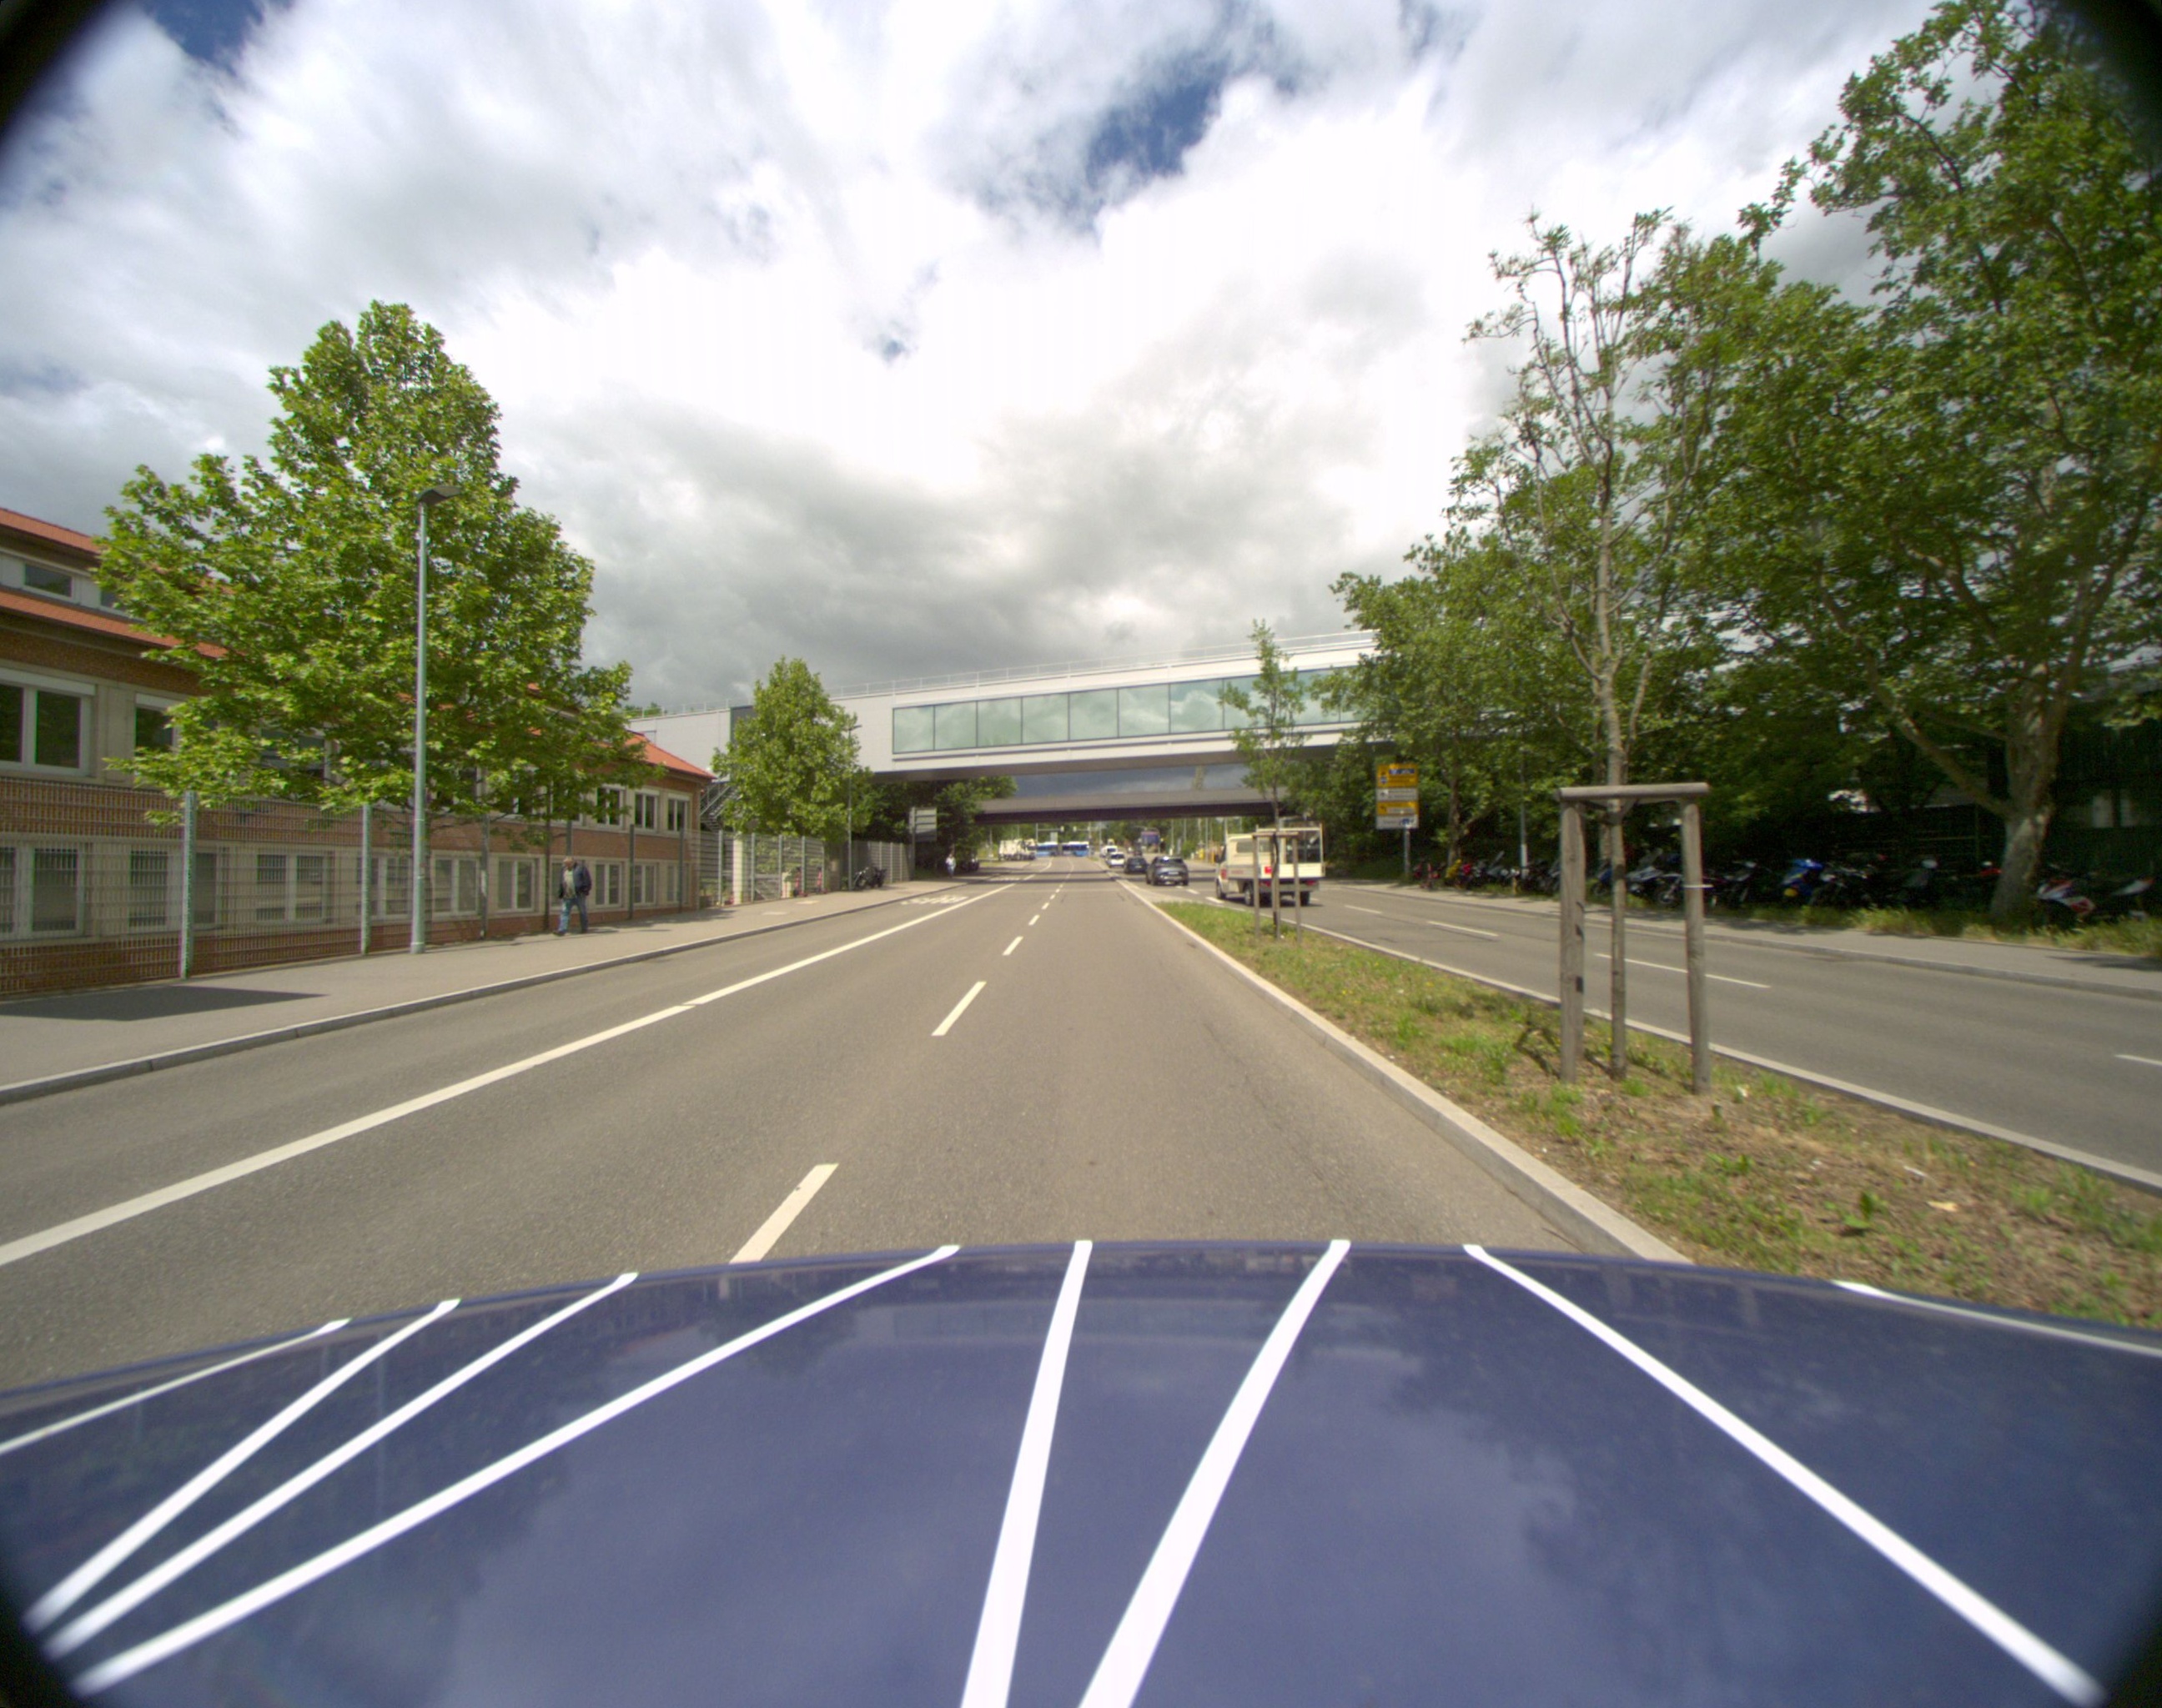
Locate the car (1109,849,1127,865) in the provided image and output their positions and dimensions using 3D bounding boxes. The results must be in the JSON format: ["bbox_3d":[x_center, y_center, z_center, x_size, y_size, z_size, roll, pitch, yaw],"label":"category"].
[{"bbox_3d":[4.292,0.371,88.072,1.813,1.770,4.977,-1,0,0],"label":"car"}]

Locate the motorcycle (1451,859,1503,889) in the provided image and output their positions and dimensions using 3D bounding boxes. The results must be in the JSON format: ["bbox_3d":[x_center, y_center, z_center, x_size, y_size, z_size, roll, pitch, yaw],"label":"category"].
[{"bbox_3d":[15.822,0.788,30.381,1.595,1.116,0.776,-3,-1,2],"label":"motorcycle"}]

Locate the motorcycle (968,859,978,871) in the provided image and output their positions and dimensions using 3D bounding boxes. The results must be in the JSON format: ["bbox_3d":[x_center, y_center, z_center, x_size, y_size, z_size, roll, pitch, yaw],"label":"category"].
[{"bbox_3d":[-10.576,1.023,74.237,0.679,1.137,2.160,0,0,0],"label":"motorcycle"}]

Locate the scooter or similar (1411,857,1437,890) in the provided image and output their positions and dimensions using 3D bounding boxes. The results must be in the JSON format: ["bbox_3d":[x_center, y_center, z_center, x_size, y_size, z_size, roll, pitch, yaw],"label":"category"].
[{"bbox_3d":[13.692,0.763,30.347,0.355,1.229,1.479,-2,1,1],"label":"scooter or similar"}]

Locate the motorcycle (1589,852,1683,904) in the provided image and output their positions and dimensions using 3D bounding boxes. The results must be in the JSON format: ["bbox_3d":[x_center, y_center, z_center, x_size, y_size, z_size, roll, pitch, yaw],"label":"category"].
[{"bbox_3d":[15.565,0.682,21.370,1.934,1.336,0.866,-3,-1,21],"label":"motorcycle"}]

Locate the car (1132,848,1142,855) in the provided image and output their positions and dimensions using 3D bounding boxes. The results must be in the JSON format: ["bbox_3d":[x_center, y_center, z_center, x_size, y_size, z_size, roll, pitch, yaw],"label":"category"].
[{"bbox_3d":[11.938,-0.495,162.430,1.998,1.346,4.000,0,0,2],"label":"car"}]

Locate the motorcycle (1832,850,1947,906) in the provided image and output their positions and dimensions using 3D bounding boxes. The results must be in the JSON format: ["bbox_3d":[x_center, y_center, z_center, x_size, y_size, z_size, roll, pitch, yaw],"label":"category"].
[{"bbox_3d":[18.909,0.548,17.840,0.654,1.202,1.984,-3,-1,5],"label":"motorcycle"}]

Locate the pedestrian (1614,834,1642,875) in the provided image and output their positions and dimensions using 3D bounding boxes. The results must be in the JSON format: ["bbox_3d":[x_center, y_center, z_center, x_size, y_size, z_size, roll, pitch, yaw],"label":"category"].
[{"bbox_3d":[23.286,0.012,32.362,0.883,1.692,0.986,-1,1,41],"label":"pedestrian"}]

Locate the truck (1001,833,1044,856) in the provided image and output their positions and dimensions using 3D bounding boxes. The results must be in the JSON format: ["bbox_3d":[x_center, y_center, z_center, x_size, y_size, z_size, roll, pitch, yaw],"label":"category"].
[{"bbox_3d":[-11.128,-1.810,143.027,2.794,3.981,10.059,-2,0,-39],"label":"truck"}]

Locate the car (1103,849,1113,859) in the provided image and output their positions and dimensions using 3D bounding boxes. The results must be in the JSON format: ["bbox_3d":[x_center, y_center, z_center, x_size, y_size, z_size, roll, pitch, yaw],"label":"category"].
[{"bbox_3d":[5.569,-0.025,155.692,1.827,1.796,4.254,-2,0,0],"label":"car"}]

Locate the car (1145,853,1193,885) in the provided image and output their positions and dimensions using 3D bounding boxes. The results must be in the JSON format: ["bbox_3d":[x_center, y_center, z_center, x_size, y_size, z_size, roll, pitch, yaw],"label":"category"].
[{"bbox_3d":[4.793,0.773,42.021,1.910,1.621,4.291,-1,0,-3],"label":"car"}]

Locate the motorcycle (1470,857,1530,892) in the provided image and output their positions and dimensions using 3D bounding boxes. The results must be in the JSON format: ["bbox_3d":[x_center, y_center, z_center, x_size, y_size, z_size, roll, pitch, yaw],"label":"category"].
[{"bbox_3d":[15.363,0.746,27.884,1.752,1.172,0.852,-3,-1,-10],"label":"motorcycle"}]

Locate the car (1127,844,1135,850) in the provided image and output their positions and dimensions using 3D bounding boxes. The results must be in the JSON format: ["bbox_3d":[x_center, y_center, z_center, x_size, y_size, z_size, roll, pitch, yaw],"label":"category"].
[{"bbox_3d":[12.705,-1.808,192.113,1.998,1.478,4.000,0,0,2],"label":"car"}]

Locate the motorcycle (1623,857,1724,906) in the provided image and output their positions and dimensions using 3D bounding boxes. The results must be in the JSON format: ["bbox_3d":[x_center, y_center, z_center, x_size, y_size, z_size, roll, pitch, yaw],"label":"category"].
[{"bbox_3d":[15.525,0.725,19.969,1.880,1.172,0.816,-3,-1,16],"label":"motorcycle"}]

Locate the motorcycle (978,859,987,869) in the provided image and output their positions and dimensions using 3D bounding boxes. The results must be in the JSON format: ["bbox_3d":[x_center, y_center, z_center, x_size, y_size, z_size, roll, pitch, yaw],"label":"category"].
[{"bbox_3d":[-10.244,1.026,79.178,0.679,1.076,2.180,0,0,0],"label":"motorcycle"}]

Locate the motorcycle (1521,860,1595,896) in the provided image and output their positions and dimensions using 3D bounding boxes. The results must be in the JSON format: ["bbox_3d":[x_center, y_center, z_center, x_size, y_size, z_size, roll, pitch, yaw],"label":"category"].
[{"bbox_3d":[15.719,0.792,25.107,1.933,1.109,0.923,-4,-1,28],"label":"motorcycle"}]

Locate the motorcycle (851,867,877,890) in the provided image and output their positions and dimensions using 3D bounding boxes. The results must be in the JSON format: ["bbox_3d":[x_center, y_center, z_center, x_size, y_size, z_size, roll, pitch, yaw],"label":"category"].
[{"bbox_3d":[-11.092,1.252,38.901,0.670,1.058,2.247,2,0,0],"label":"motorcycle"}]

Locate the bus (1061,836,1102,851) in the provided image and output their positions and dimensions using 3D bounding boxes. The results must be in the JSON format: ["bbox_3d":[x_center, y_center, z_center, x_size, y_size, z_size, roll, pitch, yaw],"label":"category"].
[{"bbox_3d":[0.105,-2.186,163.600,8.514,2.929,2.656,-2,2,33],"label":"bus"}]

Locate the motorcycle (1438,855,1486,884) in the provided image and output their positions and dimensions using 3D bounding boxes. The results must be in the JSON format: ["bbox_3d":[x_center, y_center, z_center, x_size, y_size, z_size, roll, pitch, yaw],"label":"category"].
[{"bbox_3d":[15.830,0.656,31.586,1.596,1.116,0.776,-3,-1,-8],"label":"motorcycle"}]

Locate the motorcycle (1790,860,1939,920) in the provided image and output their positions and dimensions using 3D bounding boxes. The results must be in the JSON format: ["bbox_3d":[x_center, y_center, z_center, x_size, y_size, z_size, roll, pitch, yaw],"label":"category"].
[{"bbox_3d":[15.606,0.712,15.187,1.880,1.078,0.795,-3,-1,16],"label":"motorcycle"}]

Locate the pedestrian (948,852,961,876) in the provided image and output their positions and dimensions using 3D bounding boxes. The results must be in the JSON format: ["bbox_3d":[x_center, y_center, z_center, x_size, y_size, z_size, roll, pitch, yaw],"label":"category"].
[{"bbox_3d":[-10.014,0.759,60.124,0.791,1.877,1.097,0,1,0],"label":"pedestrian"}]

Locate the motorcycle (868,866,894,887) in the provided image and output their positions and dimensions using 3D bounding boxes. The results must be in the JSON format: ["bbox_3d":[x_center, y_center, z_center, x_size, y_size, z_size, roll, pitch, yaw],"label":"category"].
[{"bbox_3d":[-10.985,1.227,41.811,0.709,1.058,2.510,2,0,0],"label":"motorcycle"}]

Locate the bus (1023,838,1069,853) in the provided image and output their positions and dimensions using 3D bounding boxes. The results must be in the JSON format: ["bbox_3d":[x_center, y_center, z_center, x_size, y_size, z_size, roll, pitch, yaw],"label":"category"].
[{"bbox_3d":[-7.664,-1.826,166.568,9.772,2.919,2.653,-2,1,11],"label":"bus"}]

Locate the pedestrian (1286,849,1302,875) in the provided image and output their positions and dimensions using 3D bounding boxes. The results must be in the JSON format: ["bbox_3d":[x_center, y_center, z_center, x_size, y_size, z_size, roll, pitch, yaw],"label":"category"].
[{"bbox_3d":[13.966,0.517,49.794,0.769,1.603,0.813,-3,1,0],"label":"pedestrian"}]

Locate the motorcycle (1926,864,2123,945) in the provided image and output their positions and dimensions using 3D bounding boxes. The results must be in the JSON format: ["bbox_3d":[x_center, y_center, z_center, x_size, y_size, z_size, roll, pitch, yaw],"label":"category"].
[{"bbox_3d":[14.831,0.785,12.004,1.881,1.166,0.746,-3,-1,10],"label":"motorcycle"}]

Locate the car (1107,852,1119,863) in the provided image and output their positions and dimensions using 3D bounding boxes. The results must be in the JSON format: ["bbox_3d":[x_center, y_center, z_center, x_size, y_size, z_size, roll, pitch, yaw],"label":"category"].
[{"bbox_3d":[4.573,0.493,109.274,1.510,1.480,3.115,-1,1,-2],"label":"car"}]

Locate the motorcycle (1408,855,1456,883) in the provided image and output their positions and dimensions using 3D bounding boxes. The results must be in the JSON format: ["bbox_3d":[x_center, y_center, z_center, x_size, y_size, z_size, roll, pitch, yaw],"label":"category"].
[{"bbox_3d":[15.667,0.667,33.949,1.745,1.164,0.777,-3,-1,9],"label":"motorcycle"}]

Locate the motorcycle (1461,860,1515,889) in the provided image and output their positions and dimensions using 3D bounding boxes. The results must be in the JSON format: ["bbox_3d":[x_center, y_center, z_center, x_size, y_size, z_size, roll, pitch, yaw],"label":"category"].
[{"bbox_3d":[15.518,0.791,29.013,1.595,1.027,0.776,-3,-1,2],"label":"motorcycle"}]

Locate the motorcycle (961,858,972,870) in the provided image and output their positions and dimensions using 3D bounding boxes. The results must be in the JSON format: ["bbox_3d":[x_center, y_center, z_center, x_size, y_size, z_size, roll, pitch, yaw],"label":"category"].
[{"bbox_3d":[-10.817,0.952,71.907,0.679,1.148,2.113,0,0,1],"label":"motorcycle"}]

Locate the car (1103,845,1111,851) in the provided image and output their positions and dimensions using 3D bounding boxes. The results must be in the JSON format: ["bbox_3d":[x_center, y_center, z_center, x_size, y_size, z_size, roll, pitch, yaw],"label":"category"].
[{"bbox_3d":[6.079,-1.466,176.770,1.998,1.346,4.000,0,0,2],"label":"car"}]

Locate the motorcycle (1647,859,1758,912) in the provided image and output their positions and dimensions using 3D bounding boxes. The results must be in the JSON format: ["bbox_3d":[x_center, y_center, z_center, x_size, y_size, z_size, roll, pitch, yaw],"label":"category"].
[{"bbox_3d":[15.179,0.769,18.608,1.881,1.172,0.815,-3,-1,10],"label":"motorcycle"}]

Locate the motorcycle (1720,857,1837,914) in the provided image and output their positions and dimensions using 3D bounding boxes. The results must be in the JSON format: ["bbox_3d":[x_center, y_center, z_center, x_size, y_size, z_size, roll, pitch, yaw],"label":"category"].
[{"bbox_3d":[15.833,0.718,17.286,1.882,1.172,0.699,-3,-1,5],"label":"motorcycle"}]

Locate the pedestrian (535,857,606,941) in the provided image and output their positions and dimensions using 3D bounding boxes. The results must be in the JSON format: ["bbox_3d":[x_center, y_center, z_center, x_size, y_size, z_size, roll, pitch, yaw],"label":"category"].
[{"bbox_3d":[-10.965,0.946,16.342,0.879,1.733,0.940,1,1,0],"label":"pedestrian"}]

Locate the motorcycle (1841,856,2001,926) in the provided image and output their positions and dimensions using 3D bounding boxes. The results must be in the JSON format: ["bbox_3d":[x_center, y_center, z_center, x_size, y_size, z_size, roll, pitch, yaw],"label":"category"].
[{"bbox_3d":[15.360,0.671,13.940,1.881,1.179,0.730,-3,0,9],"label":"motorcycle"}]

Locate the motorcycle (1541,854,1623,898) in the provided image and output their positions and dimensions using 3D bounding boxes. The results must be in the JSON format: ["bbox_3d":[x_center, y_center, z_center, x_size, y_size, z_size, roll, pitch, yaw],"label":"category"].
[{"bbox_3d":[15.674,0.683,23.830,1.934,1.283,0.894,-3,-1,21],"label":"motorcycle"}]

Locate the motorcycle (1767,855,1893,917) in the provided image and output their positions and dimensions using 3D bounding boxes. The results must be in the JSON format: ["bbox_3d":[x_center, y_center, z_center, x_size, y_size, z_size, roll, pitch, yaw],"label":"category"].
[{"bbox_3d":[15.994,0.677,16.253,1.882,1.202,0.655,-3,-1,5],"label":"motorcycle"}]

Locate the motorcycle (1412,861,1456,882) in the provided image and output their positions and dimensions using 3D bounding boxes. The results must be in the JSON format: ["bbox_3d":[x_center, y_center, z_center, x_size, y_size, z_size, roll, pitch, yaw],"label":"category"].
[{"bbox_3d":[16.273,0.819,35.044,1.744,0.863,0.777,-3,-1,21],"label":"motorcycle"}]

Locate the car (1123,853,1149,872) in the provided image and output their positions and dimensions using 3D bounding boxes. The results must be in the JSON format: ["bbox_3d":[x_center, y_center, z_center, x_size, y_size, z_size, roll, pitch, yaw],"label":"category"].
[{"bbox_3d":[4.600,0.685,63.994,1.713,1.445,4.478,-1,0,-2],"label":"car"}]

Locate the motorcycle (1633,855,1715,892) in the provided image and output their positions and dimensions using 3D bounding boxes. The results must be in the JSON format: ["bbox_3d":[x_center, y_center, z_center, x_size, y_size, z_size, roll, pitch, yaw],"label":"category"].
[{"bbox_3d":[19.279,0.643,24.766,1.933,1.109,0.923,-4,-1,28],"label":"motorcycle"}]

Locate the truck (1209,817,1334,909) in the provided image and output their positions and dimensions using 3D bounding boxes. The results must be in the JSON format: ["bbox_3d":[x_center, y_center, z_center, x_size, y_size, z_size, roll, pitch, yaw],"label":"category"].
[{"bbox_3d":[6.230,0.262,25.928,2.485,2.735,6.457,-1,0,-2],"label":"truck"}]

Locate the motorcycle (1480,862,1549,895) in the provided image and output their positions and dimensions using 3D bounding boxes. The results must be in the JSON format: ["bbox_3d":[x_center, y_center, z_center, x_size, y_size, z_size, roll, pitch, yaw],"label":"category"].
[{"bbox_3d":[15.213,0.846,26.684,1.938,1.109,0.920,1,1,-10],"label":"motorcycle"}]

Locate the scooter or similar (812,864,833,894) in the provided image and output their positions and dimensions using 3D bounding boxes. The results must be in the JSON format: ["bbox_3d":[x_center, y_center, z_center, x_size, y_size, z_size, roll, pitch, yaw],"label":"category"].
[{"bbox_3d":[-11.580,1.114,34.051,0.492,1.287,1.336,0,1,0],"label":"scooter or similar"}]

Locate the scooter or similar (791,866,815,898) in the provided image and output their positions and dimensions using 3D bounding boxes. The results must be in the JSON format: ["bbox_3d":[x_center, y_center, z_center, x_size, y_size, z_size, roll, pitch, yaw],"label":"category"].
[{"bbox_3d":[-11.600,1.139,31.710,0.492,1.287,1.336,0,1,0],"label":"scooter or similar"}]

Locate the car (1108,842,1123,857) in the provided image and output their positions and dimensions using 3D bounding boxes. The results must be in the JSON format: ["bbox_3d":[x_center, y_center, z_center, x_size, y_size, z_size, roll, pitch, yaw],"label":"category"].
[{"bbox_3d":[5.974,-0.779,130.950,2.044,2.458,5.575,-2,0,9],"label":"car"}]
